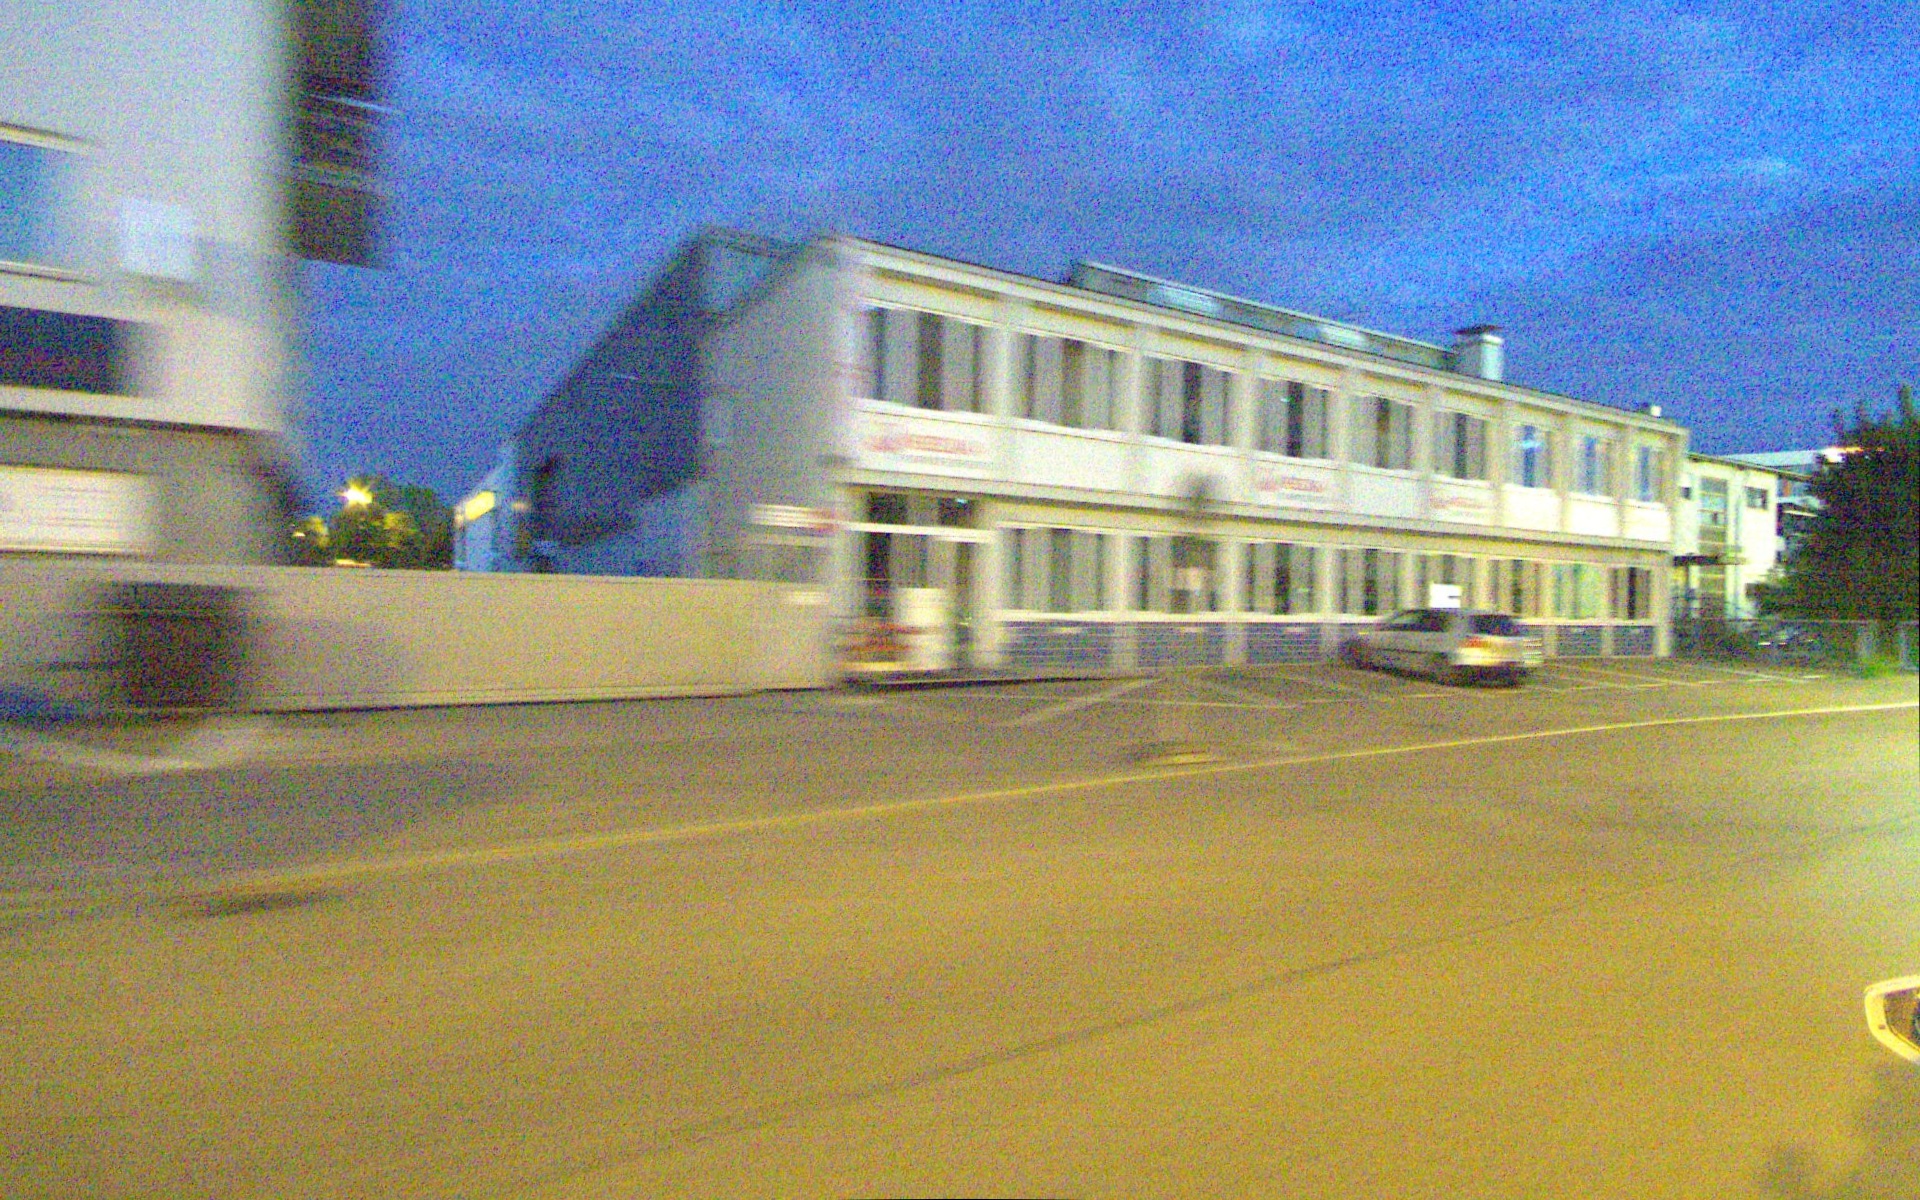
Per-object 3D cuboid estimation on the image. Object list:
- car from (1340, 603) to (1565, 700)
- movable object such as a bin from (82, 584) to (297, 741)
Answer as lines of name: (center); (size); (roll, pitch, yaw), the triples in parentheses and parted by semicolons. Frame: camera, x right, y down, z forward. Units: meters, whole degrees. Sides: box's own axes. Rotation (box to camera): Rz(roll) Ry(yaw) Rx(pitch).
car: (9.662, 0.944, 20.141); (1.863, 1.452, 4.131); (1, 3, -12)
movable object such as a bin: (-8.245, 0.615, 10.915); (1.590, 1.520, 1.848); (1, 0, -30)
